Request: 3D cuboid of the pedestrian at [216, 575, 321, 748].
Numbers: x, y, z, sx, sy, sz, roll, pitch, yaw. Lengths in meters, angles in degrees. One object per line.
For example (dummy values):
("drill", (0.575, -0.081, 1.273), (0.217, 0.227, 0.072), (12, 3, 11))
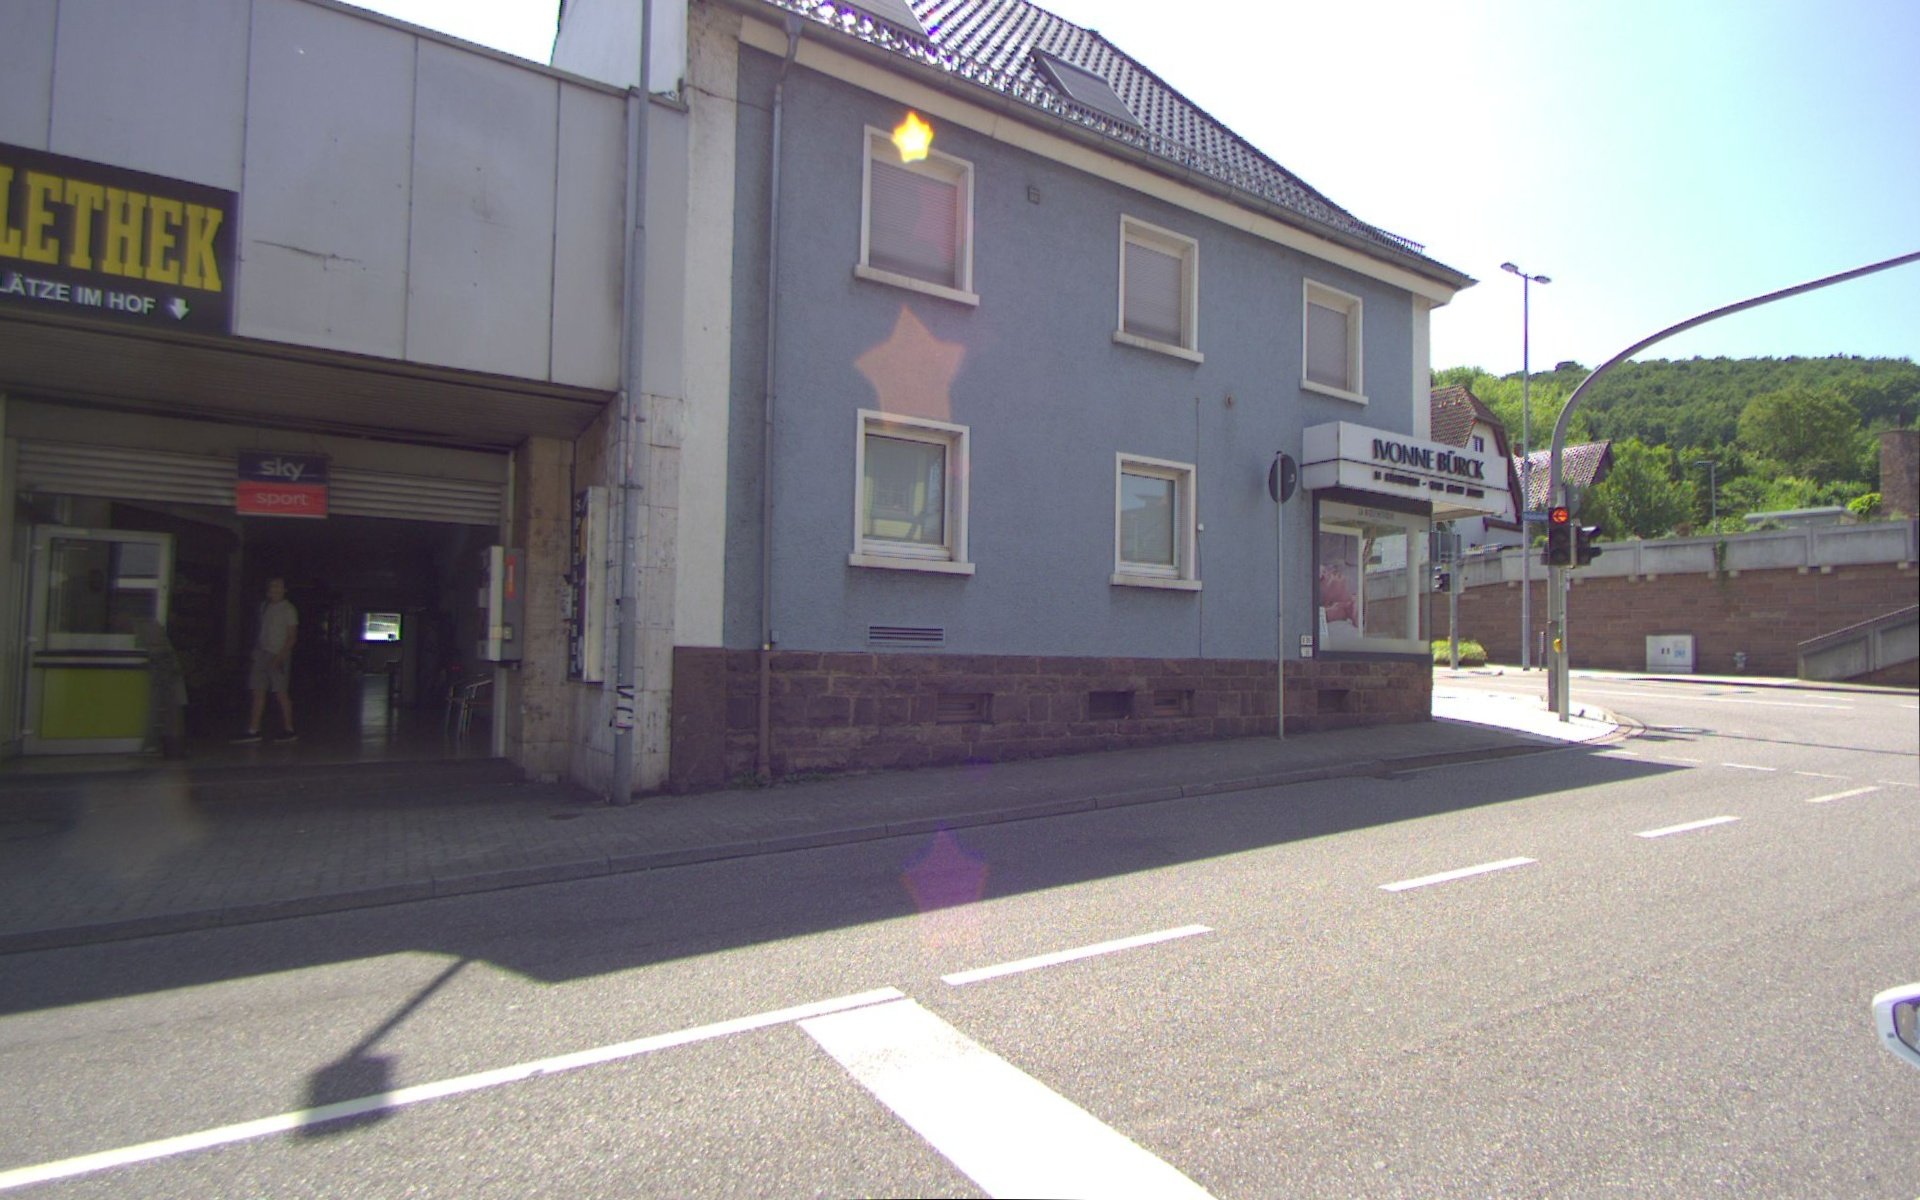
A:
("pedestrian", (-7.741, 0.673, 11.260), (0.730, 1.852, 0.693), (0, -1, 29))
